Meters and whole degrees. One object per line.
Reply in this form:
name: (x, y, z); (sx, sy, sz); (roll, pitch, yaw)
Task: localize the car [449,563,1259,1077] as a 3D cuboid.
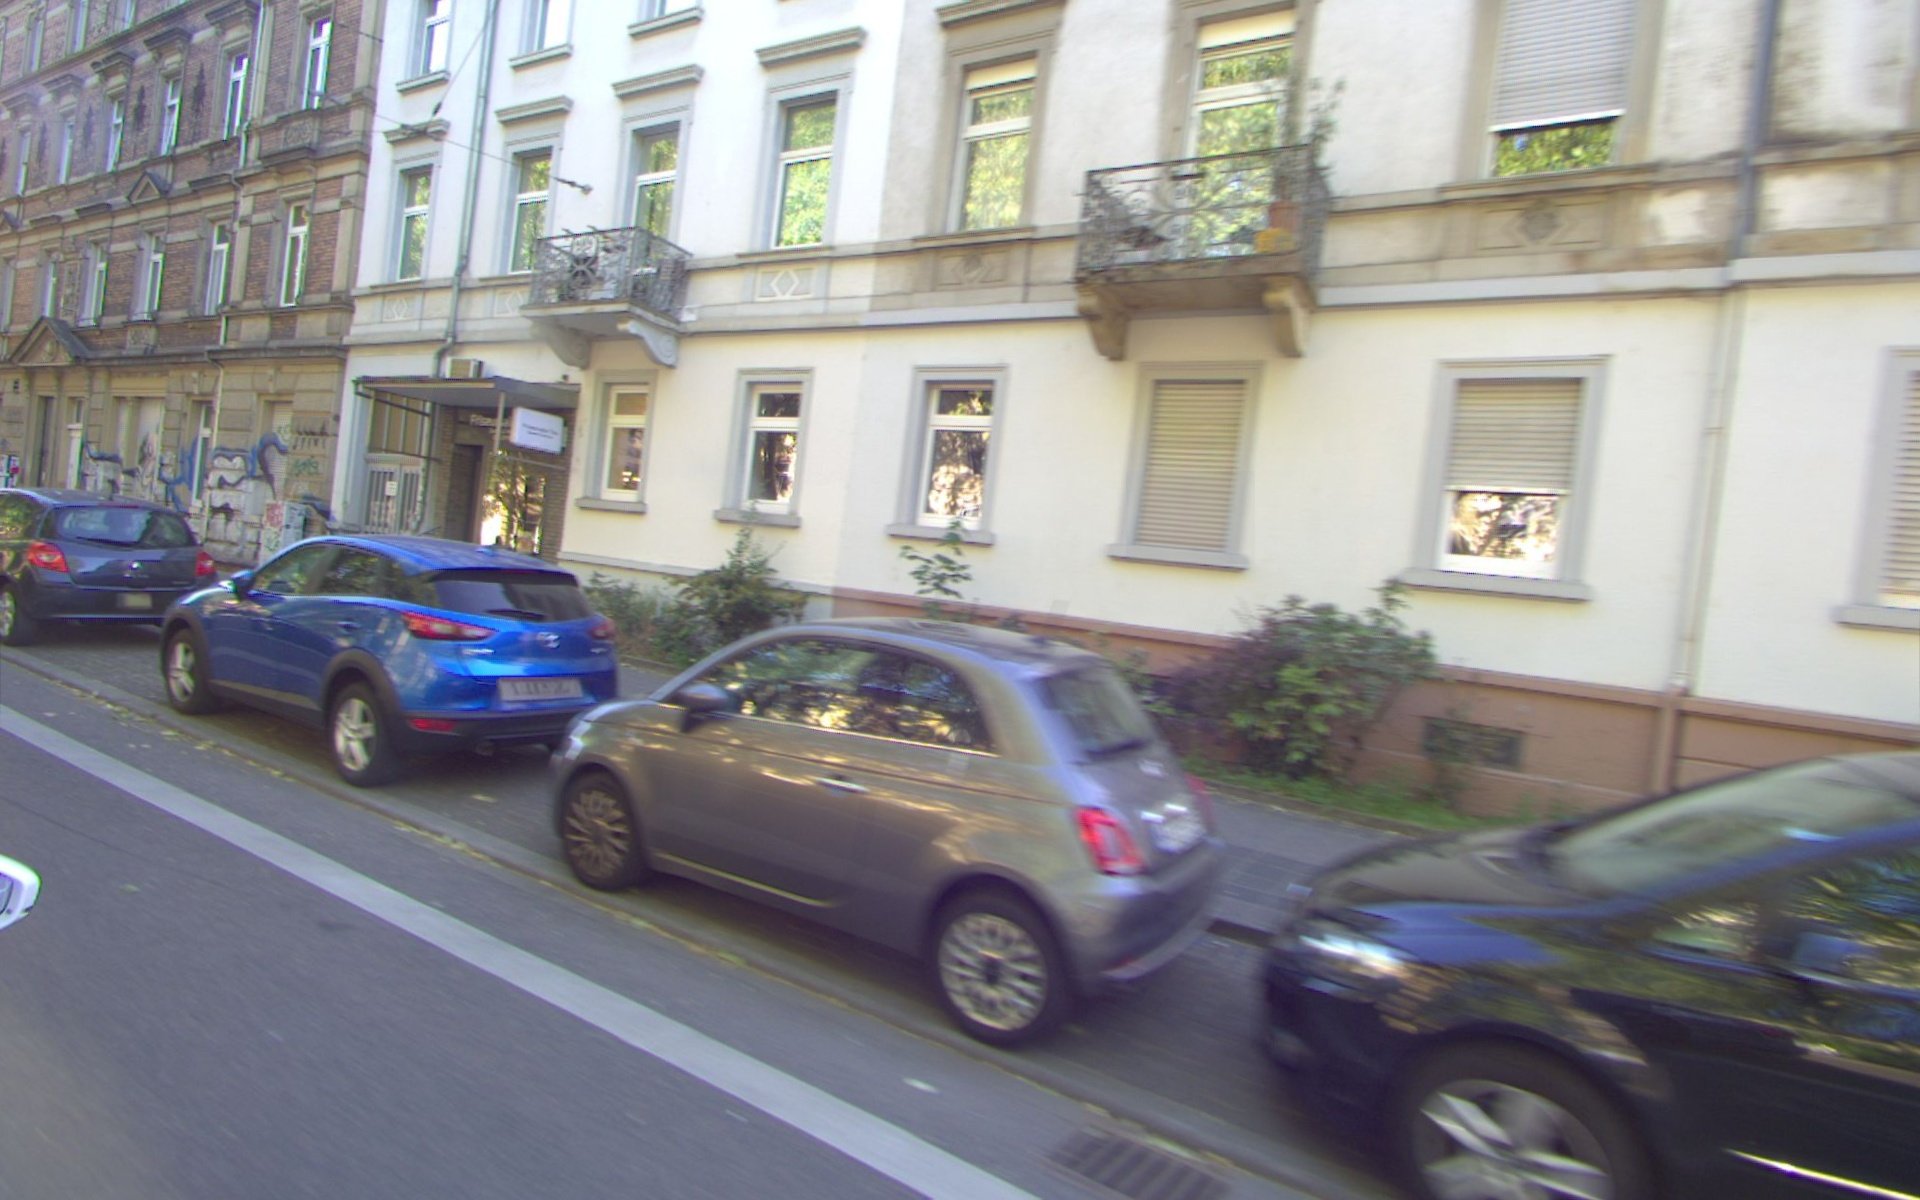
car: (-0.626, 0.740, 5.149); (3.705, 1.476, 1.799); (7, 3, 30)

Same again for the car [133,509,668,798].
car: (-4.342, 0.237, 7.654); (3.960, 1.476, 1.879); (7, 3, 33)
